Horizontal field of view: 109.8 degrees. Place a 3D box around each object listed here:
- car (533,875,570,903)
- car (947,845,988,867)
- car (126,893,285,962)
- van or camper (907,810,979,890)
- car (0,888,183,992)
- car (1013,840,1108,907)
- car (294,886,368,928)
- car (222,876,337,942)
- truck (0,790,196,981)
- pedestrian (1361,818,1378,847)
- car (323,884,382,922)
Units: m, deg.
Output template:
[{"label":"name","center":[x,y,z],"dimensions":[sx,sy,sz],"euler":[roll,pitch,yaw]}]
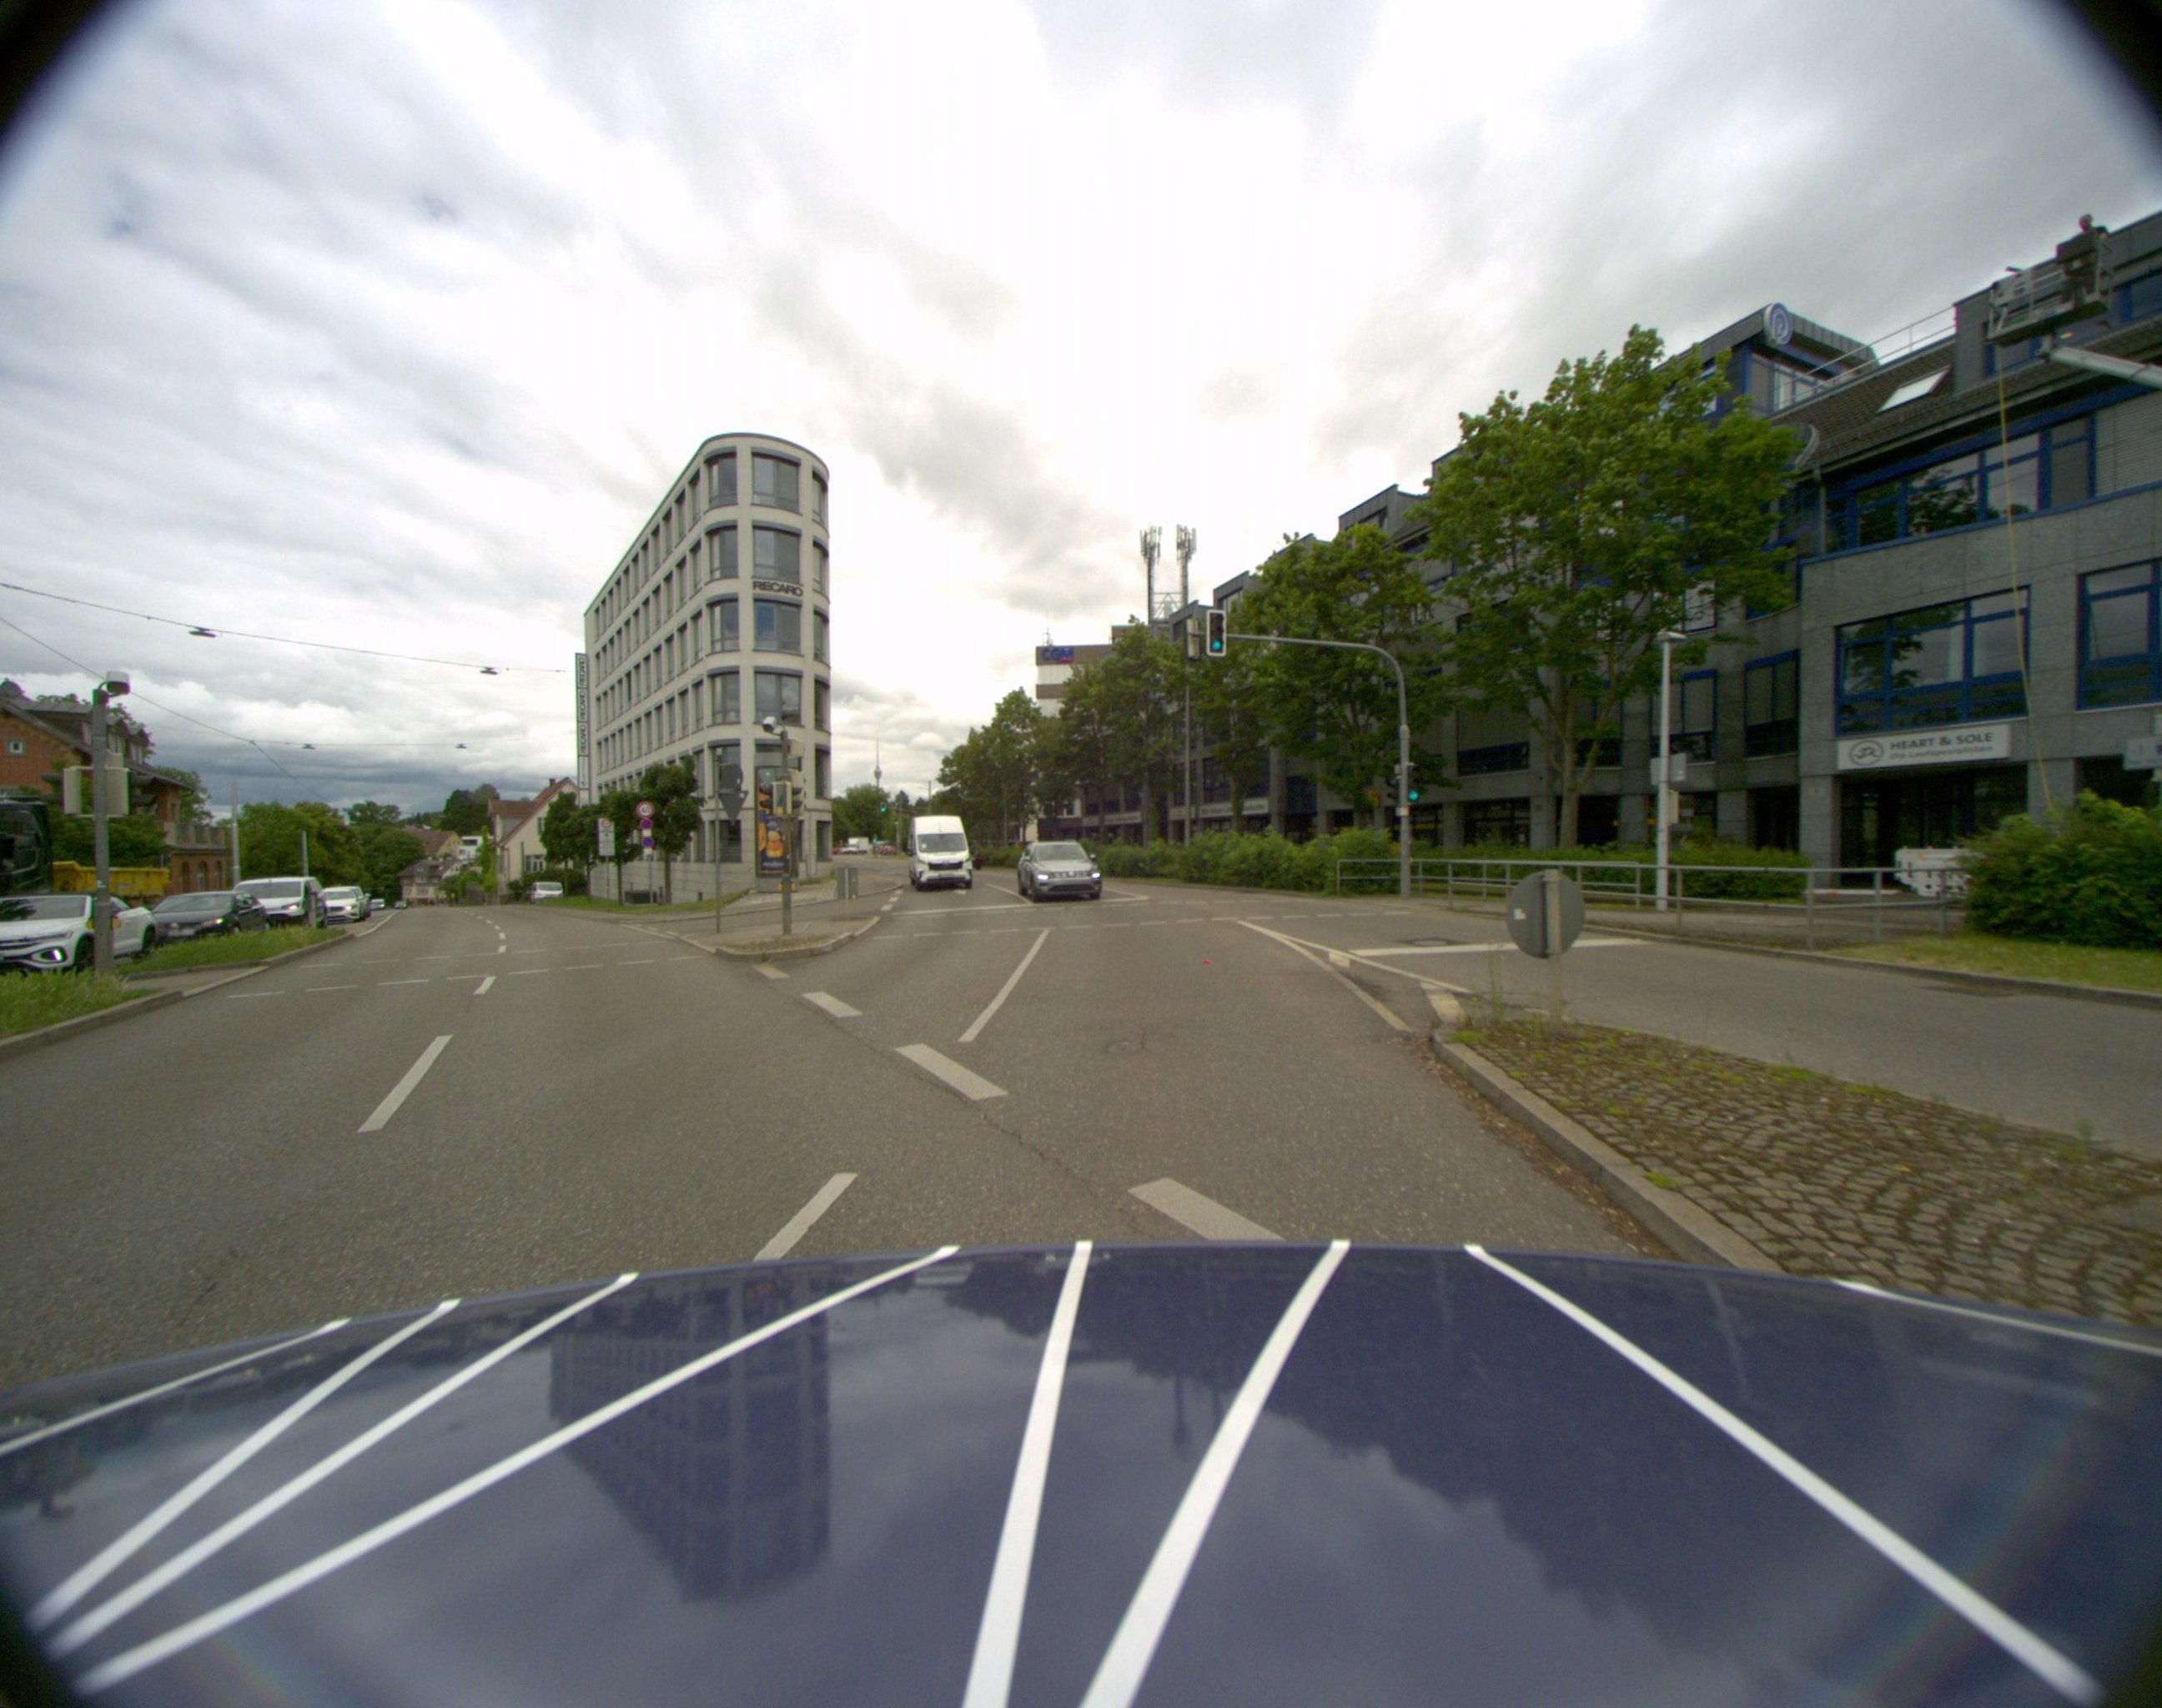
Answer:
[{"label":"car","center":[-43.642,2.860,62.549],"dimensions":[2.181,2.002,3.988],"euler":[-3,3,-38]},{"label":"car","center":[-7.797,0.085,51.878],"dimensions":[1.853,1.428,4.696],"euler":[0,1,-21]},{"label":"car","center":[-22.447,1.804,19.676],"dimensions":[1.656,1.366,3.968],"euler":[-3,1,-34]},{"label":"van or camper","center":[-5.444,-0.207,29.216],"dimensions":[2.113,2.675,6.289],"euler":[-3,2,-15]},{"label":"car","center":[-18.760,1.497,13.849],"dimensions":[1.859,1.521,4.477],"euler":[-3,1,-34]},{"label":"car","center":[-0.696,0.457,21.600],"dimensions":[1.835,1.636,4.320],"euler":[-3,2,-13]},{"label":"car","center":[-30.372,2.093,30.875],"dimensions":[1.759,1.368,4.276],"euler":[-4,1,-41]},{"label":"car","center":[-25.805,1.680,24.628],"dimensions":[1.758,1.786,4.276],"euler":[-4,1,-36]},{"label":"truck","center":[-25.902,0.702,18.726],"dimensions":[2.833,3.903,9.433],"euler":[-4,2,-35]},{"label":"pedestrian","center":[13.657,-0.996,35.977],"dimensions":[0.366,1.327,0.557],"euler":[-5,3,-26]},{"label":"car","center":[-35.489,2.325,37.111],"dimensions":[1.740,1.559,4.314],"euler":[-6,3,-41]}]
